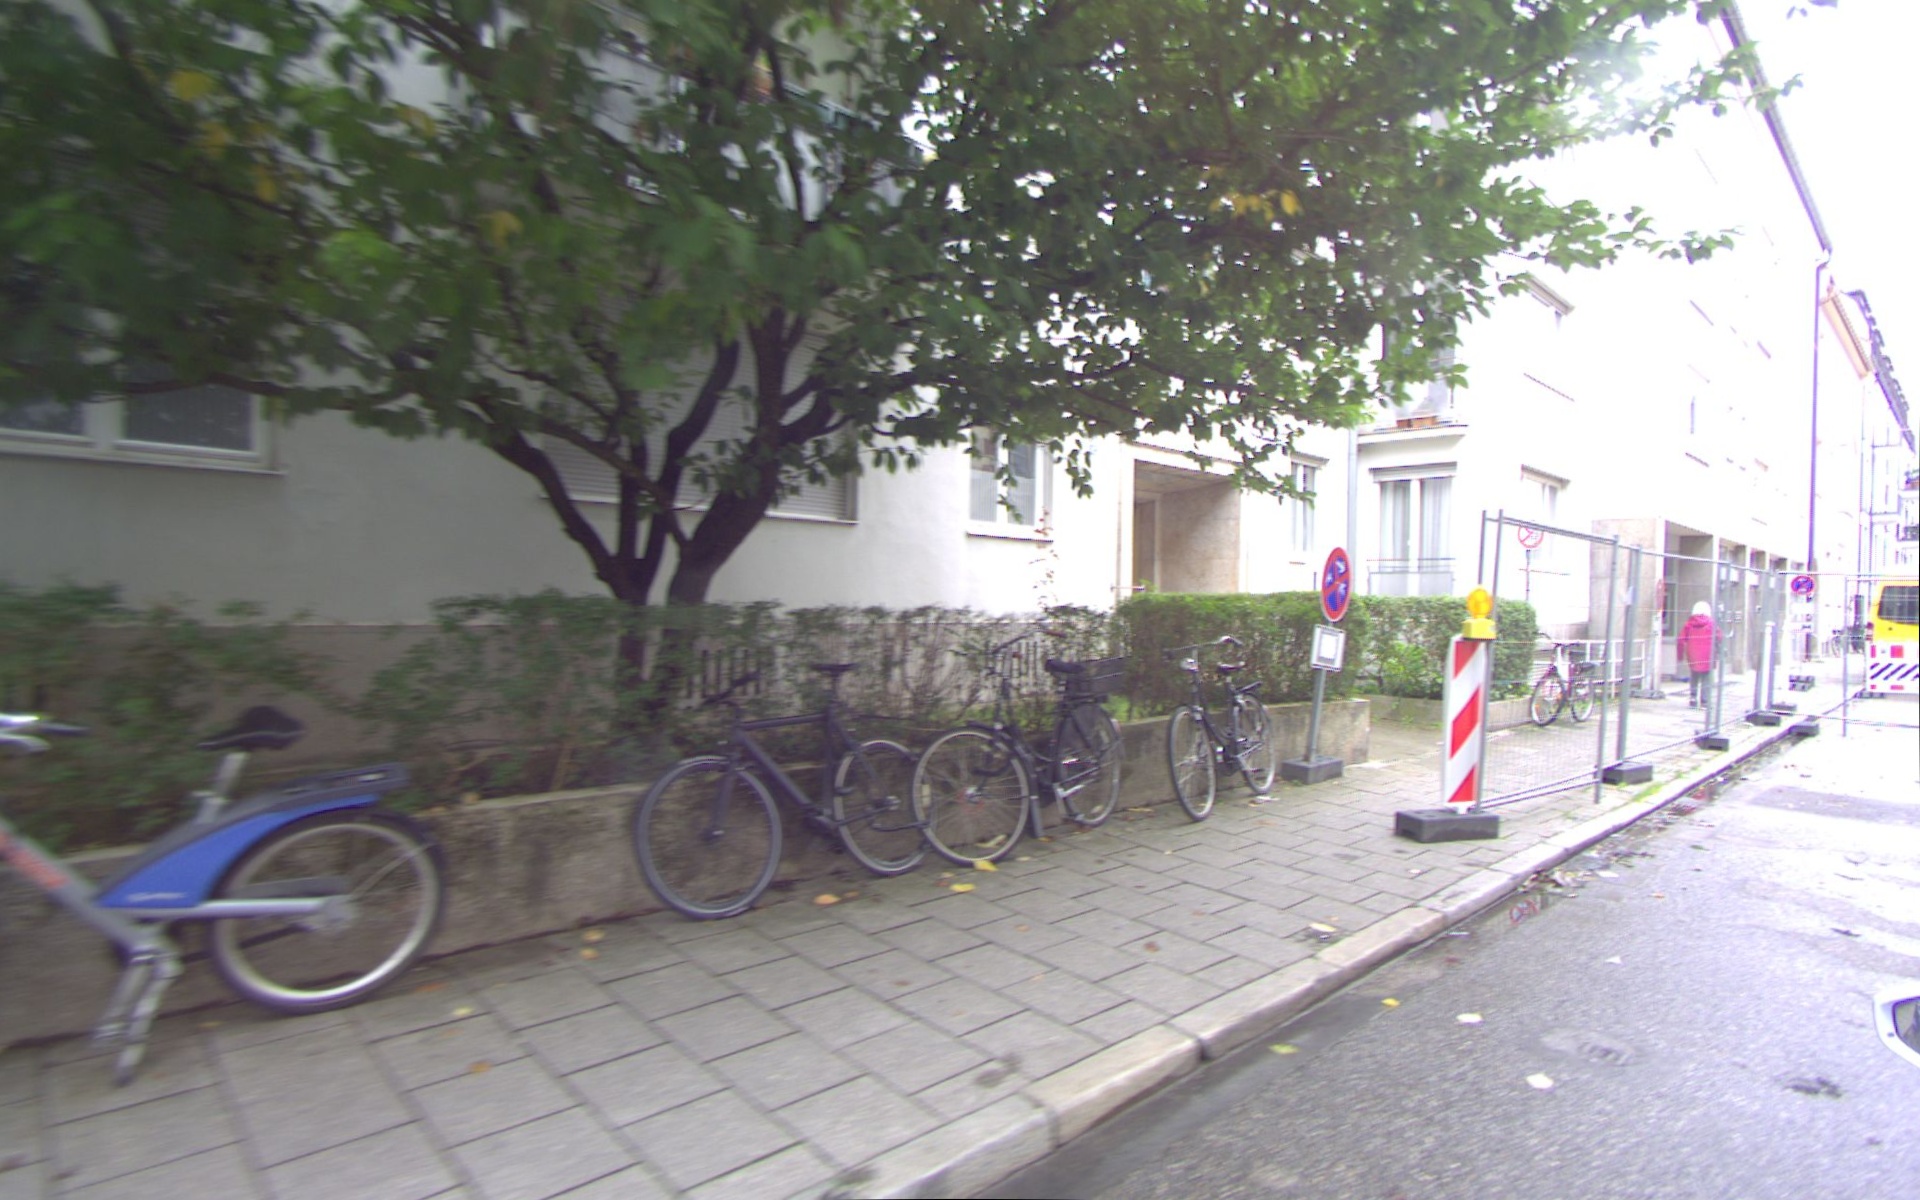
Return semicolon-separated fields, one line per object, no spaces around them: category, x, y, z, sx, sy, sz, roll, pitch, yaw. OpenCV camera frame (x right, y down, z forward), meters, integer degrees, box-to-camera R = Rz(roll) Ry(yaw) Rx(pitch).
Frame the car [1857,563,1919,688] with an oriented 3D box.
car;22.375;0.571;23.297;1.973;2.613;6.693;0;-1;45

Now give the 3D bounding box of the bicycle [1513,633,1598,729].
bicycle;7.408;0.973;12.469;1.586;1.077;0.373;1;6;-44

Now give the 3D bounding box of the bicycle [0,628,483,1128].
bicycle;-2.284;0.680;2.723;1.687;1.167;0.484;2;2;-43

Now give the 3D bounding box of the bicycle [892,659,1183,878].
bicycle;0.499;0.853;5.599;1.840;0.991;0.439;2;2;-43

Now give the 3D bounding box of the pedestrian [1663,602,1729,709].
pedestrian;11.102;0.811;15.156;0.741;1.552;0.632;1;1;-42

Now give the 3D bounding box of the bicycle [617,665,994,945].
bicycle;-0.621;0.824;4.527;1.687;0.991;0.431;2;2;-43

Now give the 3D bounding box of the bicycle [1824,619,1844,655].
bicycle;31.075;1.294;35.713;0.376;1.204;2.127;2;2;38

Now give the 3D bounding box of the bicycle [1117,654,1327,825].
bicycle;1.838;0.890;6.879;1.803;0.991;0.439;2;2;-43
